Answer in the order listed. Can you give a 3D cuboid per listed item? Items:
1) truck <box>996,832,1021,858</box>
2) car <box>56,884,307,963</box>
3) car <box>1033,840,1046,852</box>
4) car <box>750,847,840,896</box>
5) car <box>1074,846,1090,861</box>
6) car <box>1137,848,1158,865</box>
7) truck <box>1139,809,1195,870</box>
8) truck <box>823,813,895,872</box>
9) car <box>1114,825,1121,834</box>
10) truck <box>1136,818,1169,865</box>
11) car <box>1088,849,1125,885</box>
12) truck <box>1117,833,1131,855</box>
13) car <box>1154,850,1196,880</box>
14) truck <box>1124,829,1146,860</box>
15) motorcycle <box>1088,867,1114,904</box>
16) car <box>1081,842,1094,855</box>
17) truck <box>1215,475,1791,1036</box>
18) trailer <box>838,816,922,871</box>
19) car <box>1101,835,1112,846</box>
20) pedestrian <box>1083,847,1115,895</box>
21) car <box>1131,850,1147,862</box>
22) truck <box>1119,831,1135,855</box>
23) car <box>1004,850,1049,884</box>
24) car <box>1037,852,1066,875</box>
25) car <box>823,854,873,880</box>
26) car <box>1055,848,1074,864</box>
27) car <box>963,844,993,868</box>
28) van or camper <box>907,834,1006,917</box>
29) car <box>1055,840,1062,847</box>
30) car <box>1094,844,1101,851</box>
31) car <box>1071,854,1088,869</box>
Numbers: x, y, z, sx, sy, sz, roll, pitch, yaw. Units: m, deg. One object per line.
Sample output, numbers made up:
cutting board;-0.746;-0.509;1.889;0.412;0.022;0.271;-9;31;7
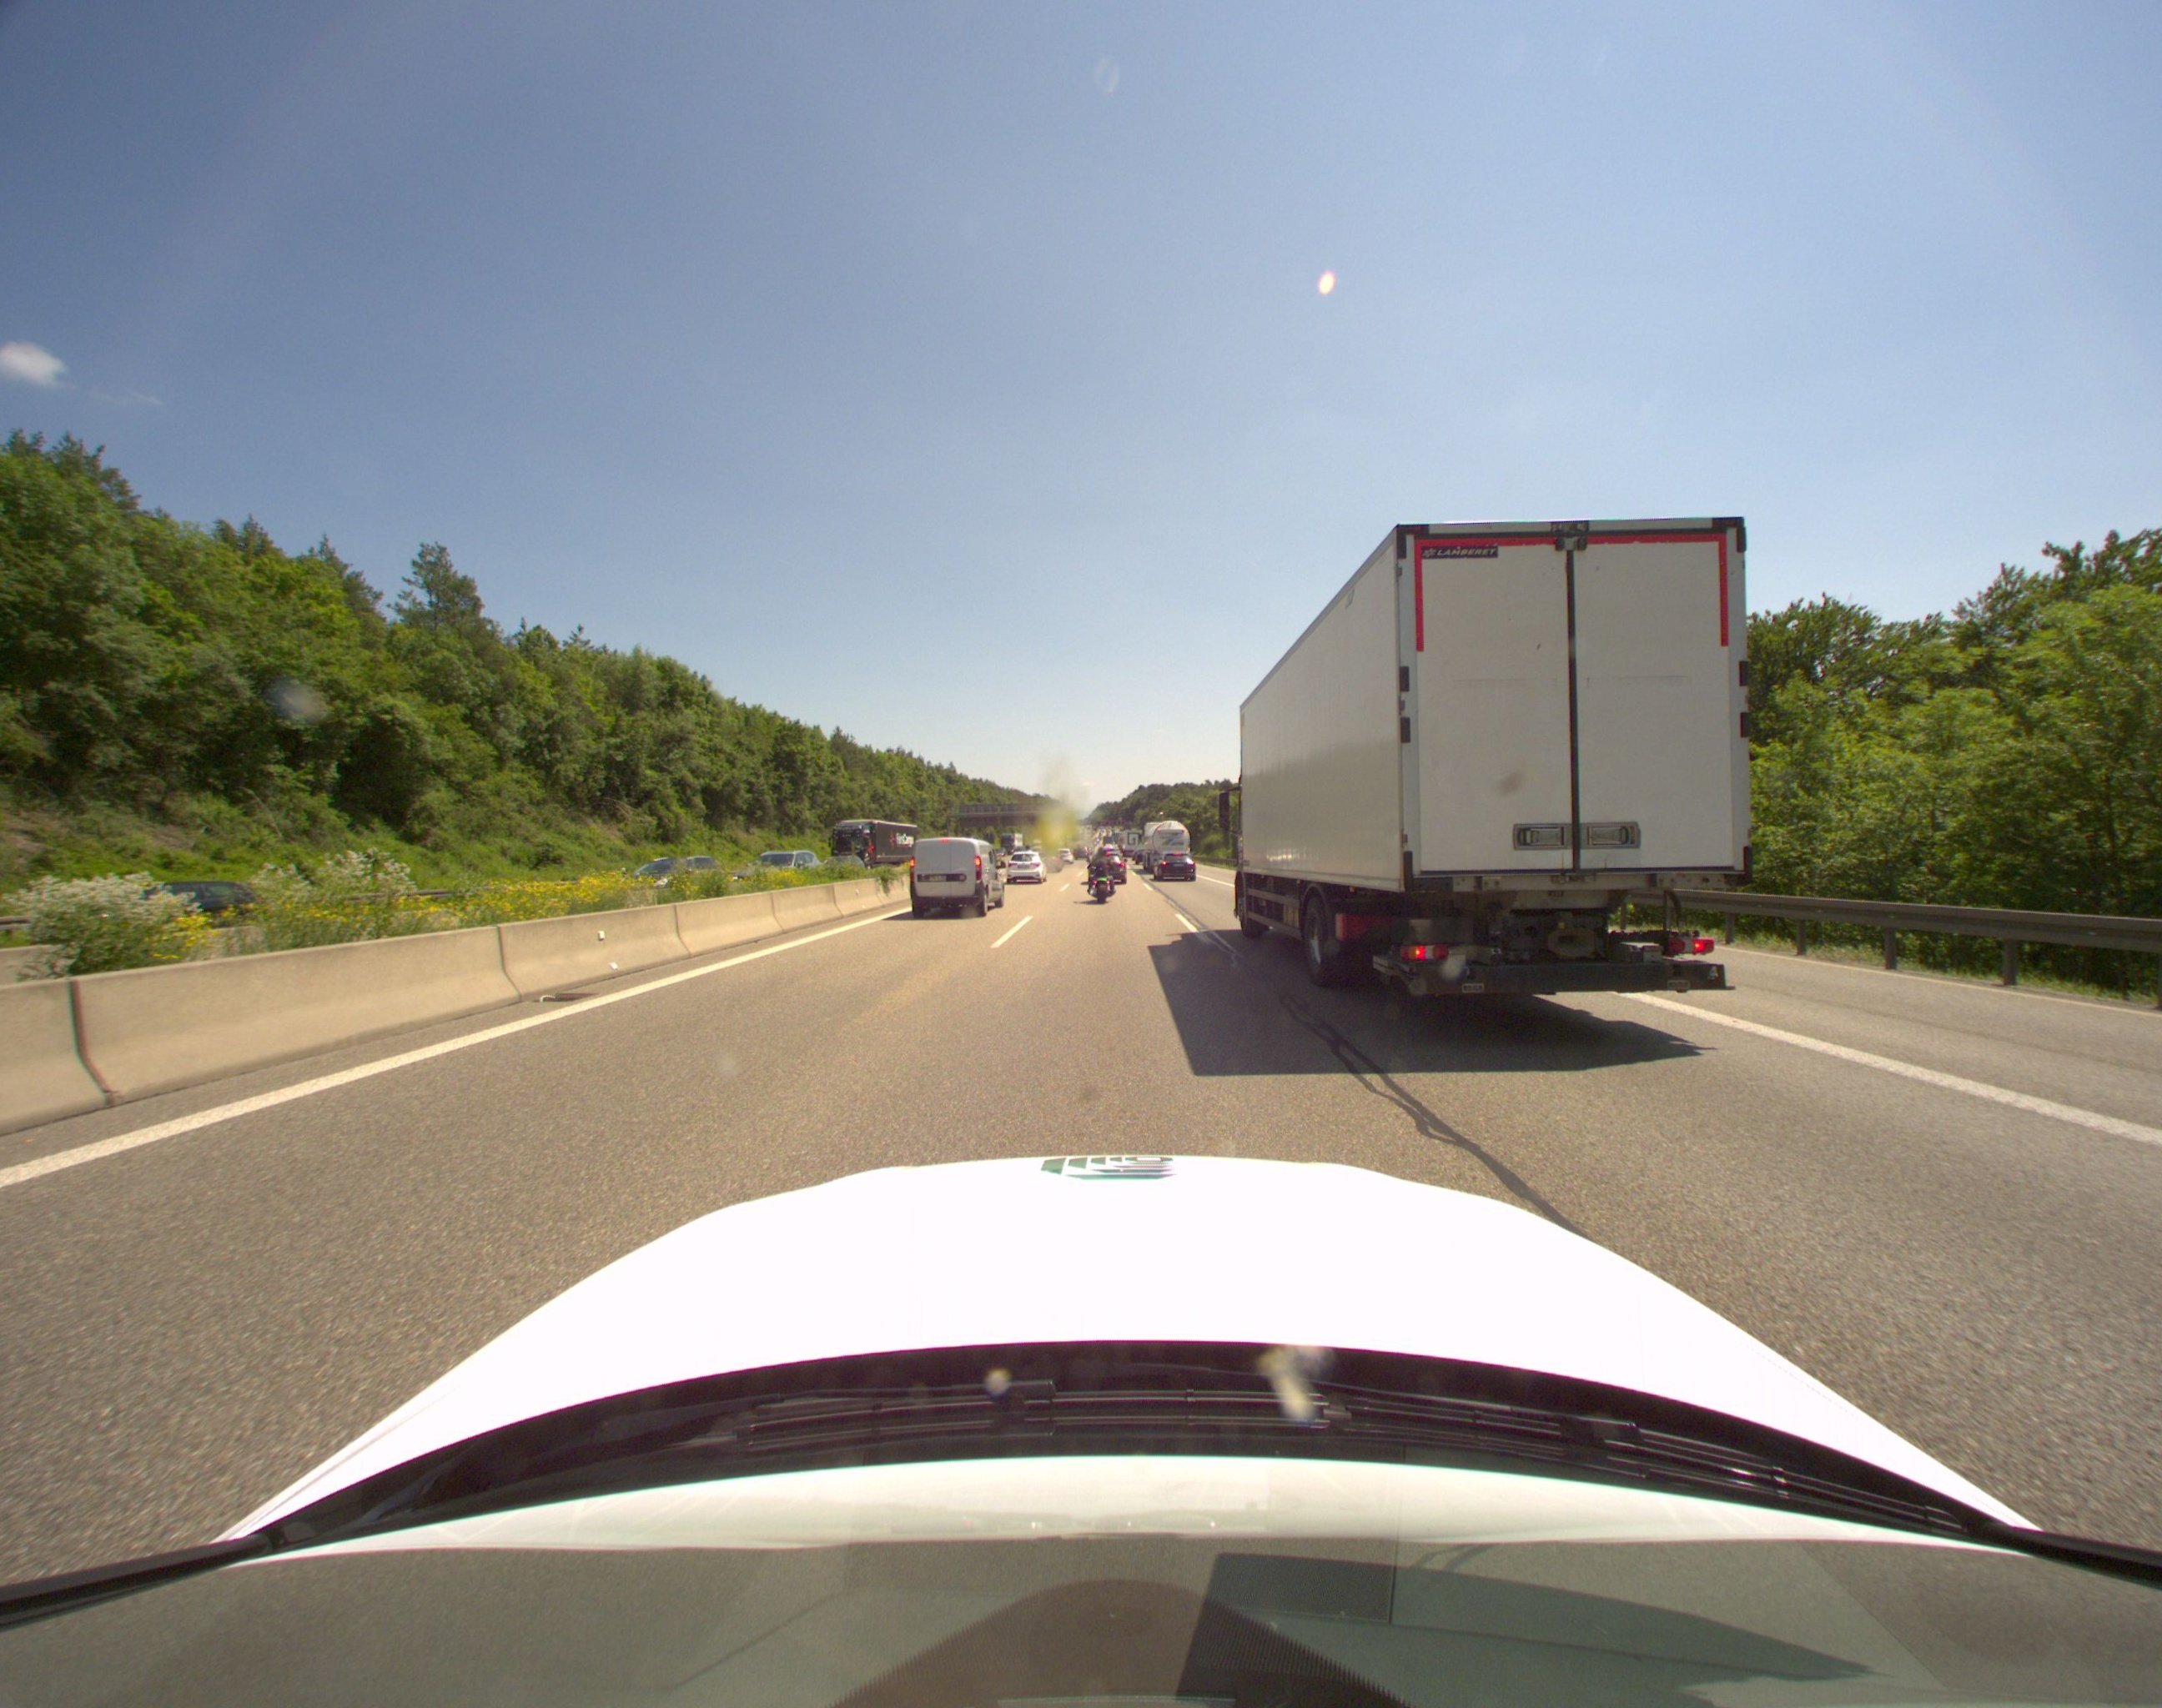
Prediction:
truck;-13.574;-1.628;153.148;3.711;4.528;7.327;-3;-1;1
car;-21.614;1.601;19.841;1.557;1.519;4.002;-2;0;2
car;-8.748;-1.720;172.978;1.986;2.377;7.368;-1;0;2
car;-9.873;0.561;28.380;1.557;1.519;4.002;-2;0;2
car;0.198;-0.049;104.397;1.873;1.859;4.002;-1;0;2
car;6.435;0.245;78.948;1.780;1.555;3.805;-1;0;2
truck;5.731;-0.871;55.508;2.976;3.671;9.291;-3;-1;2
truck;-16.471;-0.774;61.042;2.895;3.974;7.772;-3;-1;2
car;10.055;-6.753;223.815;1.986;2.014;4.002;-3;-1;2
truck;5.608;-0.904;64.528;1.987;3.522;4.750;-3;-1;0
car;1.175;0.599;37.896;1.527;1.510;4.001;-3;0;1
truck;10.027;-2.273;191.663;3.022;5.139;9.987;0;0;2
car;4.692;0.518;41.140;1.822;1.470;4.002;0;0;2
truck;8.115;-1.394;123.780;3.022;4.542;9.987;0;0;2
motorcycle;0.604;0.911;24.085;0.688;1.015;2.123;0;0;3
car;1.144;-0.941;143.542;1.922;2.014;4.002;-3;-1;2
truck;3.829;-0.690;10.759;2.677;3.876;9.786;-4;0;2
trailer;-16.236;-0.704;67.268;2.895;3.974;13.893;-3;-1;2
car;6.324;-3.236;201.219;2.495;2.587;5.018;-1;0;2
pedestrian;0.541;0.485;24.244;0.846;1.362;0.962;-3;0;3
car;7.202;0.217;100.819;1.780;1.374;3.805;-1;0;2
truck;9.138;-2.196;161.692;3.022;4.542;9.987;0;0;2
car;-2.547;0.577;38.960;1.693;1.478;4.002;-1;0;2
car;-2.003;0.612;56.034;1.693;1.478;4.002;-1;0;2
car;-13.287;0.730;46.721;1.557;1.366;4.002;-2;0;2
car;-1.593;0.210;80.088;1.693;1.478;4.002;-1;0;2
car;-9.364;0.170;74.149;1.872;2.013;4.470;-4;-1;2
van or camper;-3.061;0.516;20.772;1.789;1.892;4.160;-1;-1;1
car;-6.886;-3.275;252.357;1.872;2.013;4.470;-4;-1;2
car;4.766;-2.032;237.934;1.986;2.013;4.002;-1;0;2
car;-0.184;1.032;114.661;1.986;2.014;4.002;-3;-1;2
